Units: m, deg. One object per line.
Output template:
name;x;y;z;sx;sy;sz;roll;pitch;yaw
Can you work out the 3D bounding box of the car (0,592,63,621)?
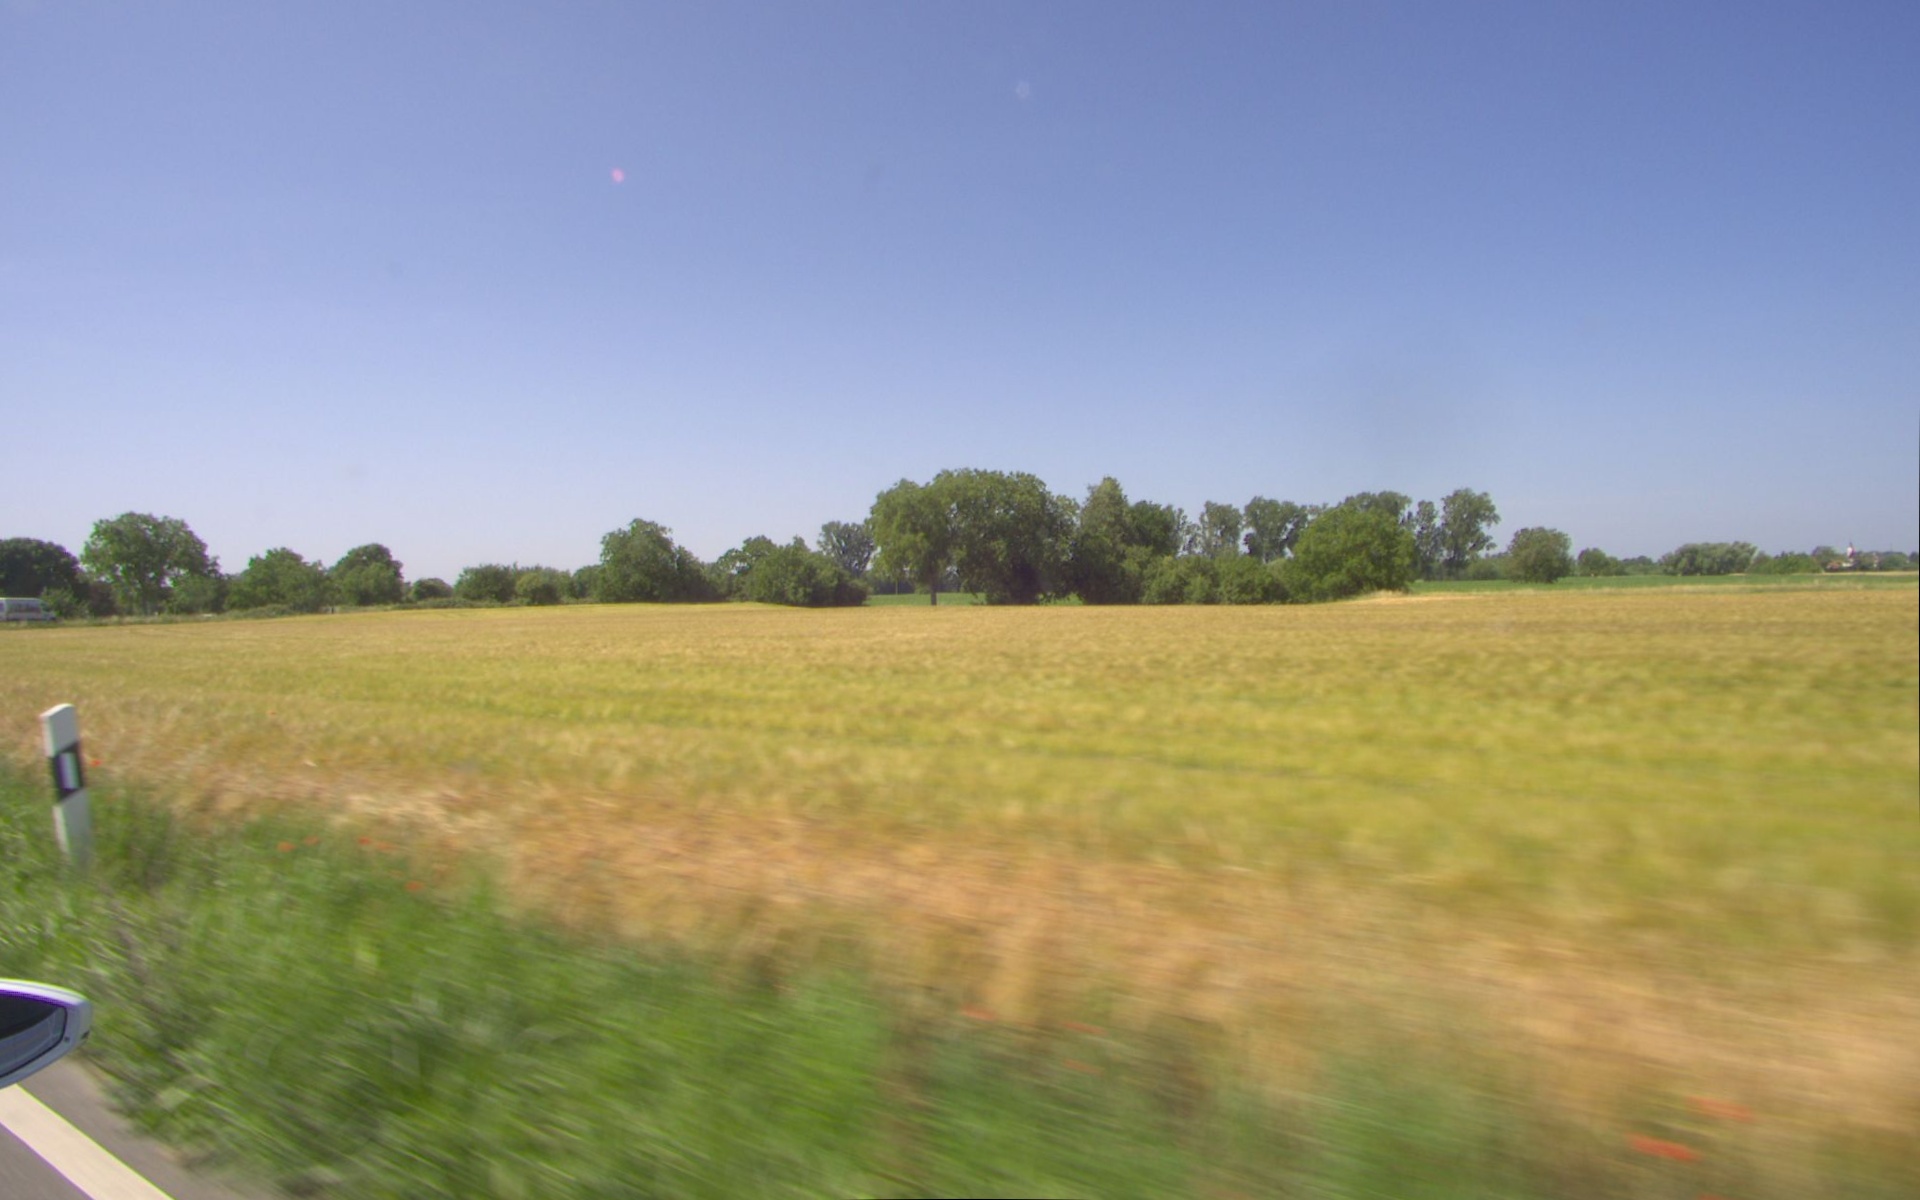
car;-82.235;0.559;88.047;2.071;2.399;5.681;-1;1;-8
